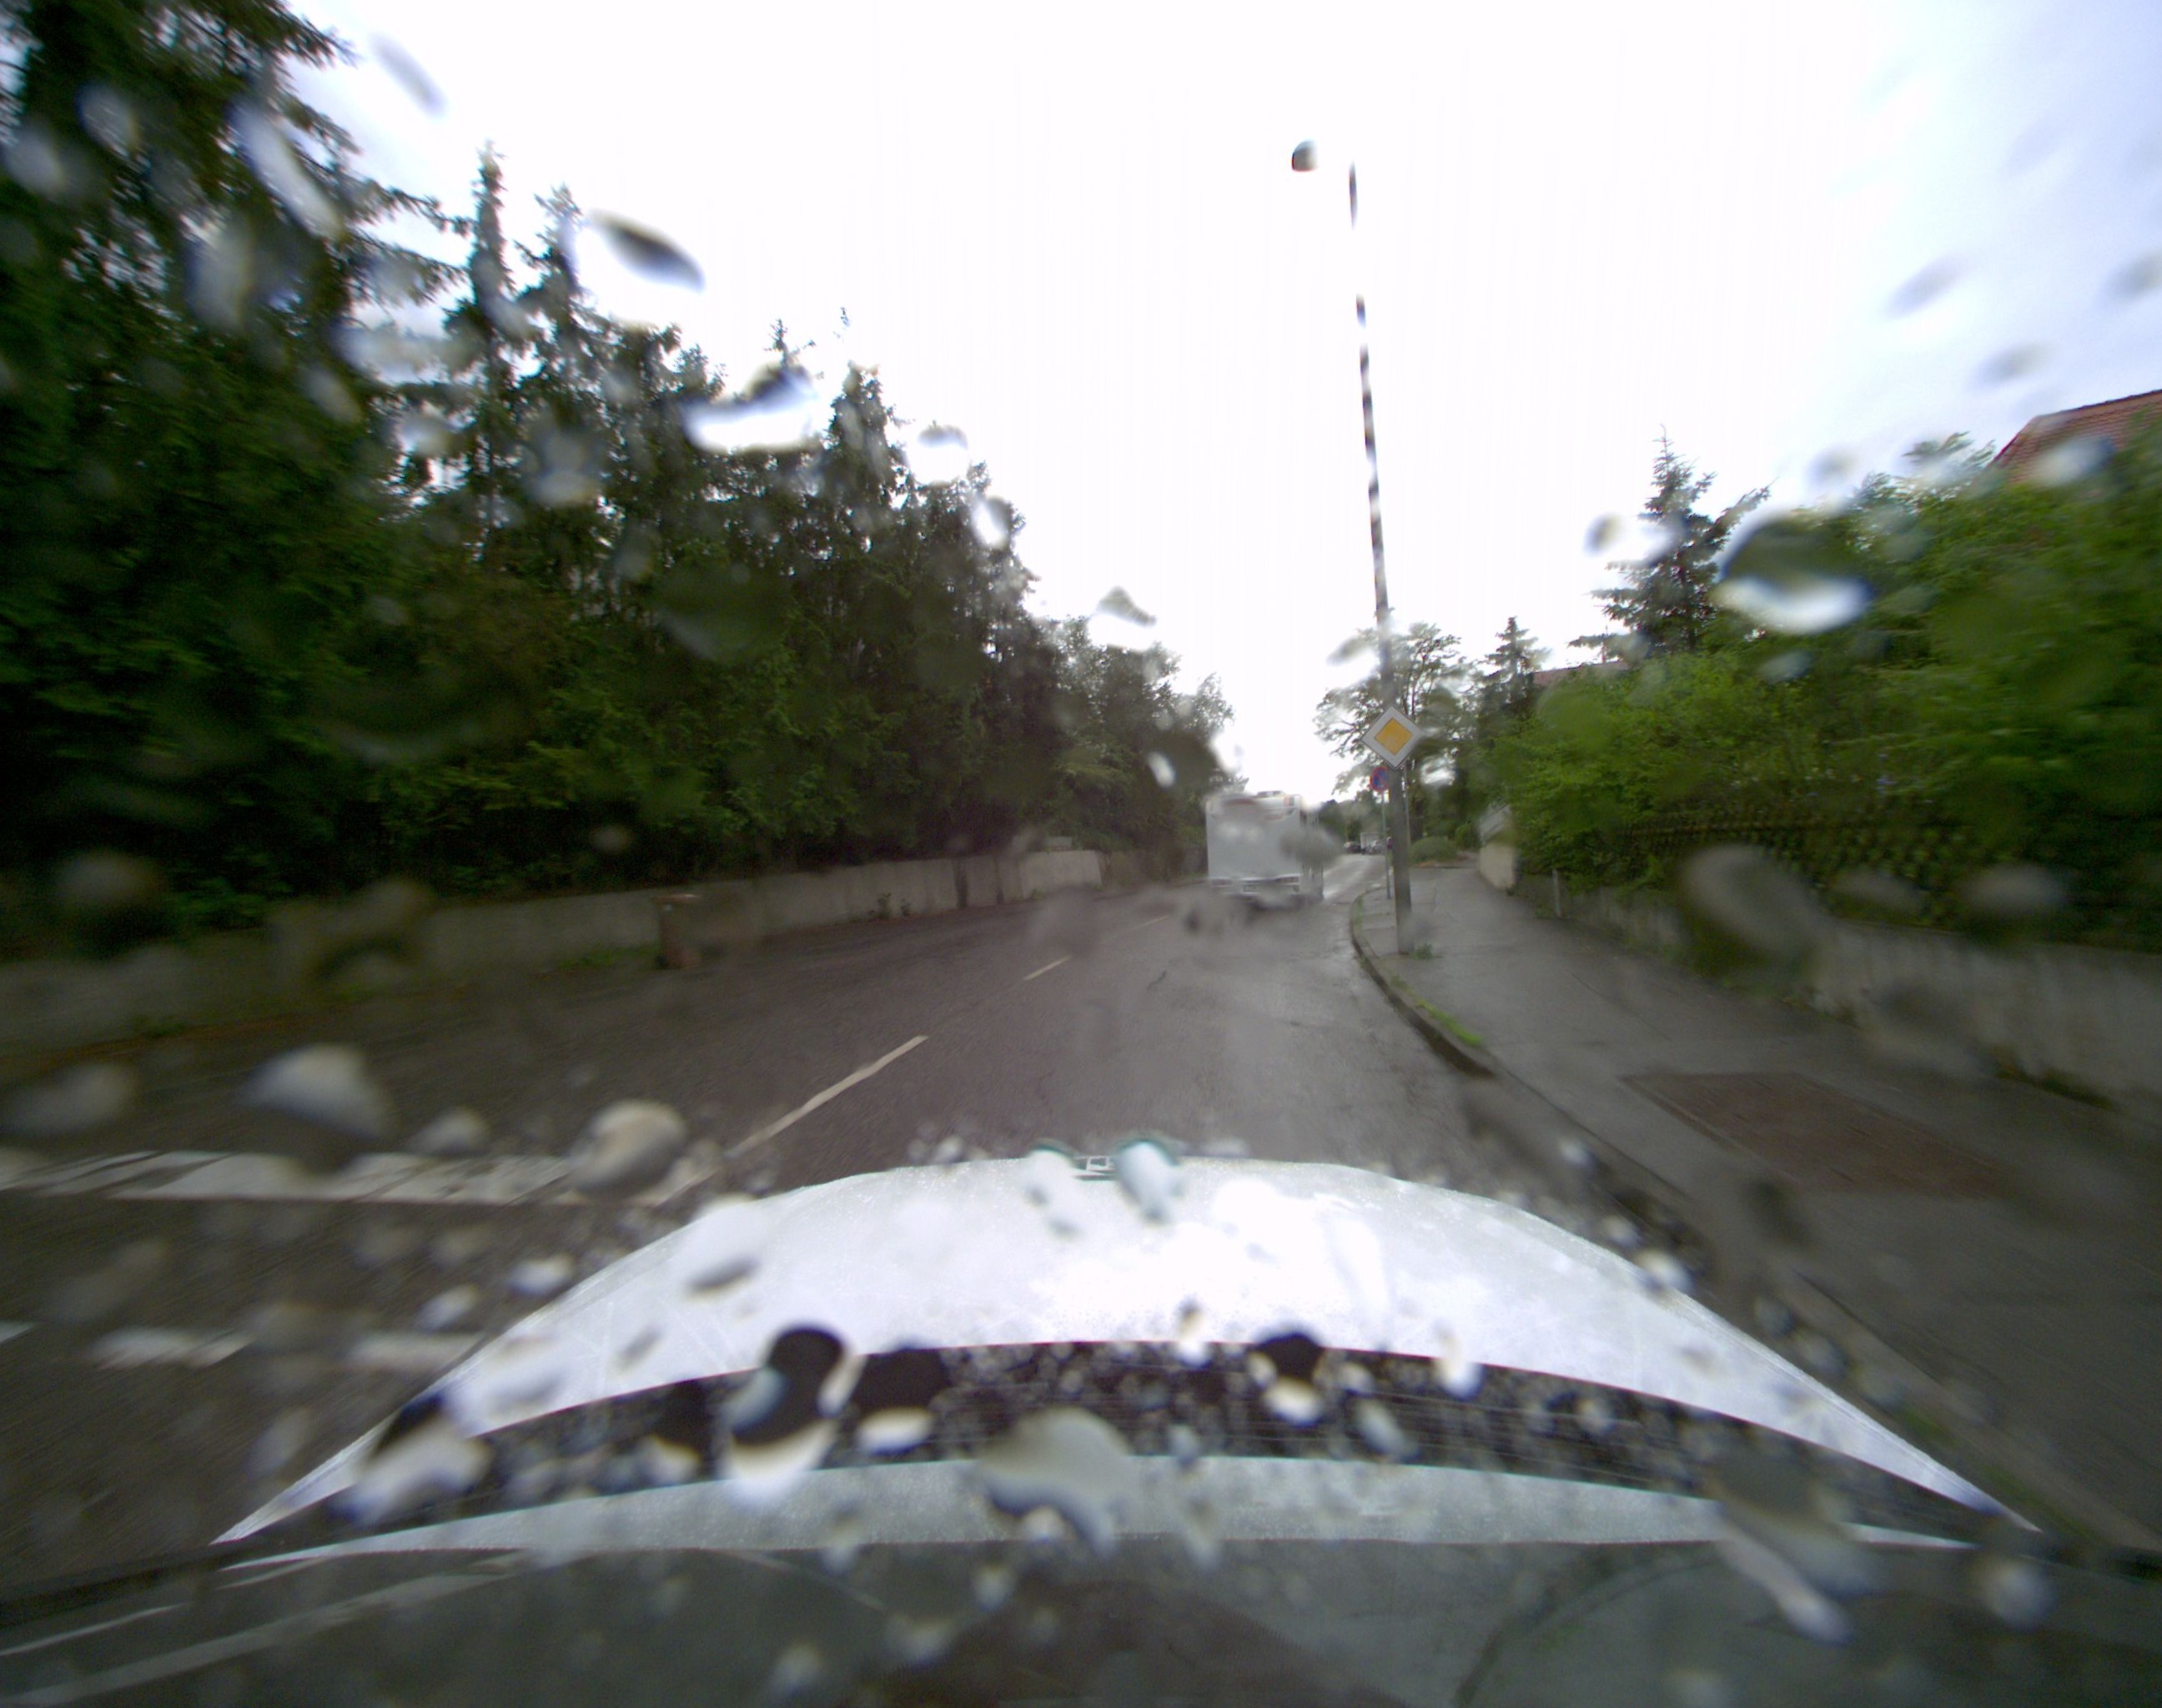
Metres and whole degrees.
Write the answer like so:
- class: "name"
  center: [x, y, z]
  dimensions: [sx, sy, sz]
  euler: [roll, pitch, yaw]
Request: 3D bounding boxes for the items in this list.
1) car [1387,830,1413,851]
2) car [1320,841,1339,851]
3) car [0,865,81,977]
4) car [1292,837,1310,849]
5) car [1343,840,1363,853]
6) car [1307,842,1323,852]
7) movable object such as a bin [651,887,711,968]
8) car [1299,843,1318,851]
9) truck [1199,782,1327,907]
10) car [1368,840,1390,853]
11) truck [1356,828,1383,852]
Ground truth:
- class: "car"
  center: [27.877, -1.173, 71.189]
  dimensions: [1.976, 1.640, 4.022]
  euler: [0, -1, 23]
- class: "car"
  center: [34.813, -1.126, 114.234]
  dimensions: [1.534, 1.327, 3.866]
  euler: [1, -1, 2]
- class: "car"
  center: [-16.970, 1.004, 11.020]
  dimensions: [1.685, 1.586, 4.023]
  euler: [0, 1, 25]
- class: "car"
  center: [35.228, -1.775, 130.510]
  dimensions: [1.642, 1.721, 3.996]
  euler: [1, -1, -3]
- class: "car"
  center: [33.997, -0.954, 101.871]
  dimensions: [1.679, 1.464, 3.392]
  euler: [-2, 0, 6]
- class: "car"
  center: [34.360, -0.984, 119.492]
  dimensions: [1.533, 1.327, 4.005]
  euler: [1, -1, 5]
- class: "movable object such as a bin"
  center: [-5.150, 0.933, 10.503]
  dimensions: [0.496, 0.979, 0.492]
  euler: [0, 0, 14]
- class: "car"
  center: [34.960, -1.087, 125.016]
  dimensions: [1.642, 1.100, 3.996]
  euler: [-3, 0, -3]
- class: "truck"
  center: [5.062, -0.231, 21.790]
  dimensions: [2.494, 2.817, 6.232]
  euler: [-2, 0, 20]
- class: "car"
  center: [31.336, -0.813, 85.771]
  dimensions: [1.530, 1.326, 4.013]
  euler: [-3, 0, 11]
- class: "truck"
  center: [32.618, -1.592, 92.190]
  dimensions: [1.982, 2.573, 4.845]
  euler: [-2, 0, 8]
